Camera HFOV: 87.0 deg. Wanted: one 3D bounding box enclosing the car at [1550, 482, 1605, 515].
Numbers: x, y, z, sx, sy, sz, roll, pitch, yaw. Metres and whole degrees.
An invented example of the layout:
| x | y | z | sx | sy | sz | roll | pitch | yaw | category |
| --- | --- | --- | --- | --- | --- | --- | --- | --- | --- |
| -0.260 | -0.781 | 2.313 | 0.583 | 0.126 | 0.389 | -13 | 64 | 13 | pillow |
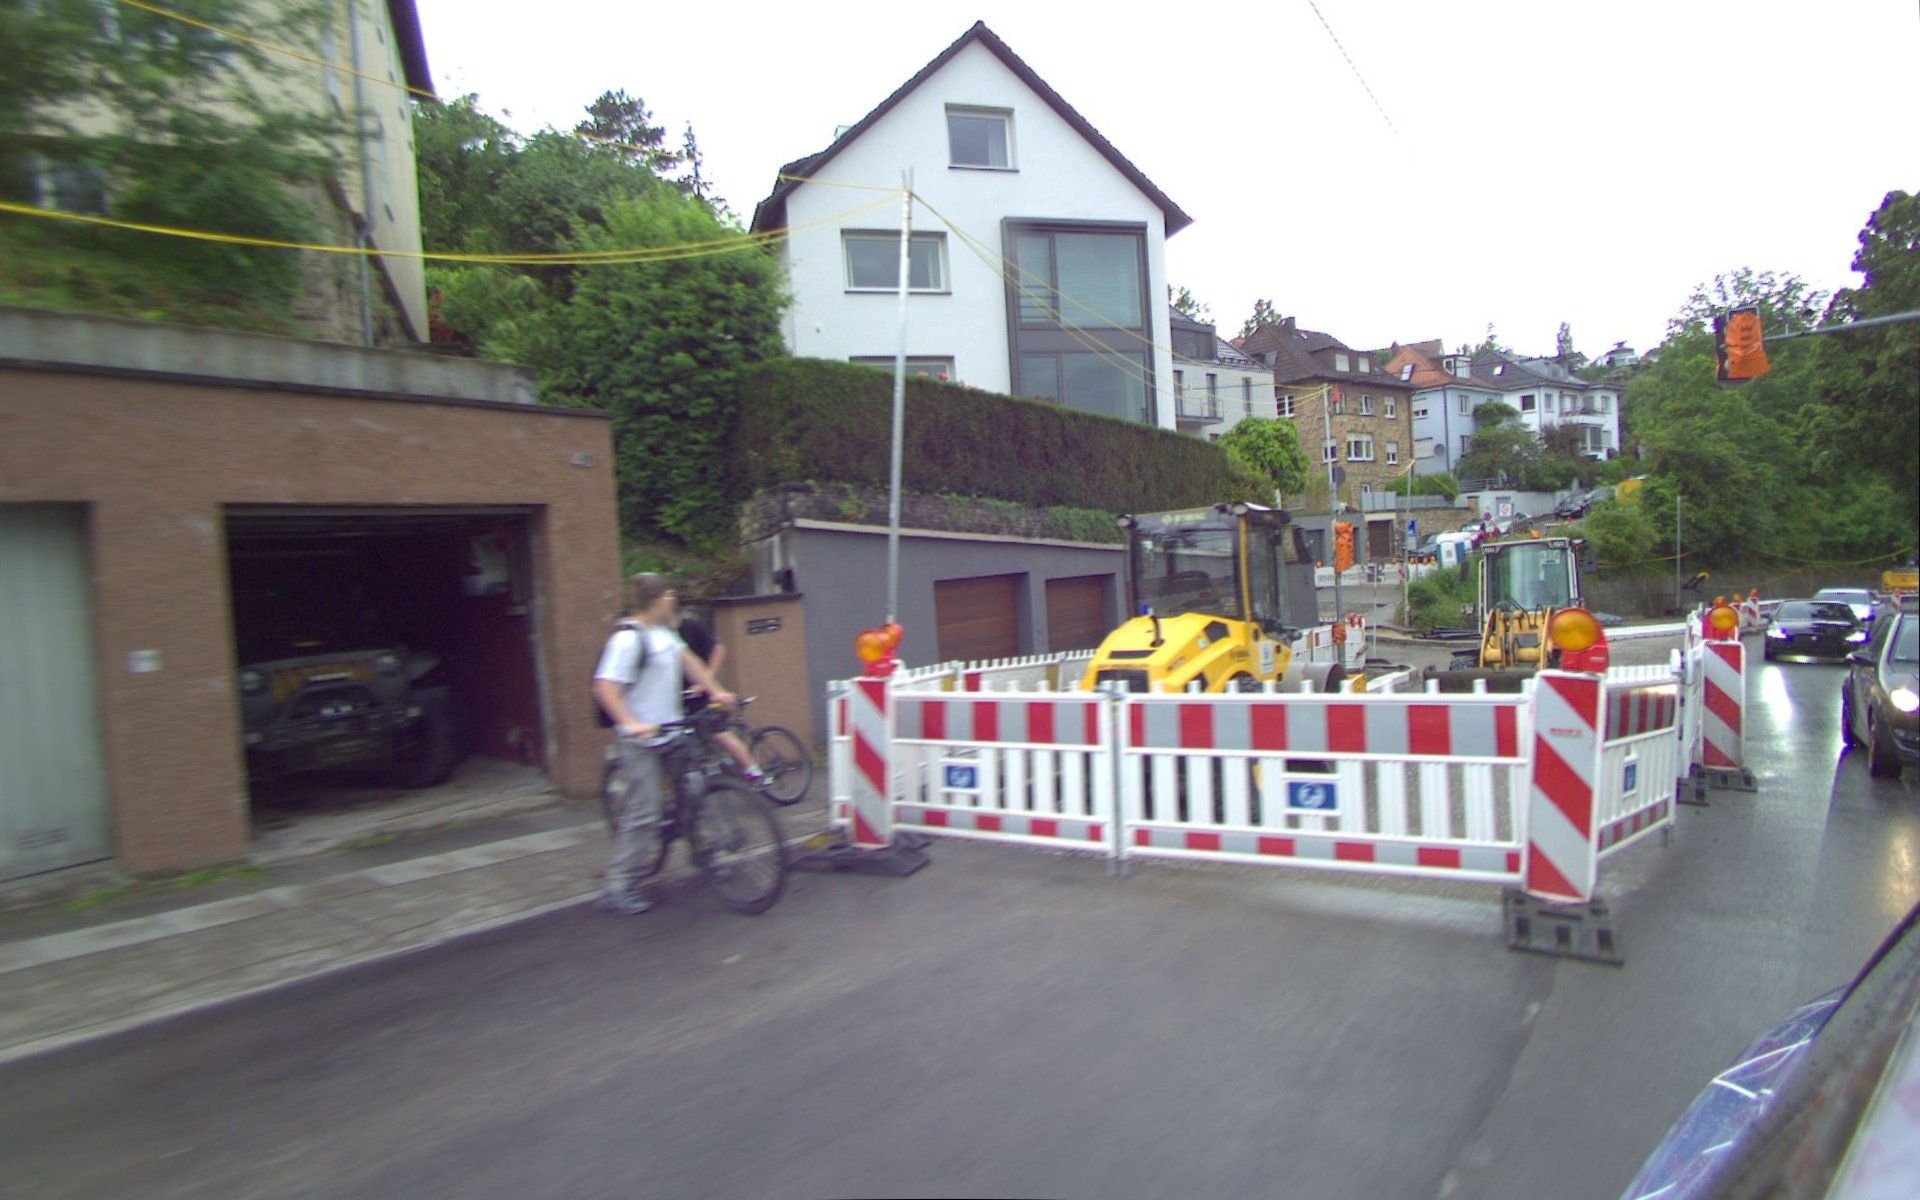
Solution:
| x | y | z | sx | sy | sz | roll | pitch | yaw | category |
| --- | --- | --- | --- | --- | --- | --- | --- | --- | --- |
| 41.382 | -6.800 | 67.794 | 3.902 | 1.652 | 1.859 | -14 | 9 | -38 | car |

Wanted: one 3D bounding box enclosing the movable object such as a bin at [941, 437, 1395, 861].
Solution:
| x | y | z | sx | sy | sz | roll | pitch | yaw | category |
| --- | --- | --- | --- | --- | --- | --- | --- | --- | --- |
| 2.358 | 0.338 | 9.749 | 2.081 | 2.874 | 5.600 | -1 | -1 | 37 | movable object such as a bin |

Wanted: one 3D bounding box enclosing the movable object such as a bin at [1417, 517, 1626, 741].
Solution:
| x | y | z | sx | sy | sz | roll | pitch | yaw | category |
| --- | --- | --- | --- | --- | --- | --- | --- | --- | --- |
| 8.983 | 0.247 | 15.885 | 2.081 | 2.873 | 5.603 | -1 | 2 | 37 | movable object such as a bin |

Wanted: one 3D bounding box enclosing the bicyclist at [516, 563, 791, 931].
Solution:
| x | y | z | sx | sy | sz | roll | pitch | yaw | category |
| --- | --- | --- | --- | --- | --- | --- | --- | --- | --- |
| -1.640 | 0.700 | 5.481 | 1.067 | 1.750 | 0.924 | -1 | 0 | 29 | bicyclist |

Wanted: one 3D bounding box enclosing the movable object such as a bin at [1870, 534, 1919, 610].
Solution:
| x | y | z | sx | sy | sz | roll | pitch | yaw | category |
| --- | --- | --- | --- | --- | --- | --- | --- | --- | --- |
| 51.998 | -1.519 | 52.949 | 7.052 | 3.887 | 3.339 | -1 | 1 | -17 | movable object such as a bin |

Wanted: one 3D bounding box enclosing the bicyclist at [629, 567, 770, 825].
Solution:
| x | y | z | sx | sy | sz | roll | pitch | yaw | category |
| --- | --- | --- | --- | --- | --- | --- | --- | --- | --- |
| -1.970 | 0.651 | 7.558 | 0.913 | 1.750 | 1.079 | -1 | 0 | -18 | bicyclist |

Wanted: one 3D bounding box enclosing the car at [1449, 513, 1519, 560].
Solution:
| x | y | z | sx | sy | sz | roll | pitch | yaw | category |
| --- | --- | --- | --- | --- | --- | --- | --- | --- | --- |
| 30.300 | -3.682 | 58.485 | 4.358 | 2.100 | 1.900 | -12 | 9 | -38 | car |

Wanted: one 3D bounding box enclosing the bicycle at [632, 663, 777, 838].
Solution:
| x | y | z | sx | sy | sz | roll | pitch | yaw | category |
| --- | --- | --- | --- | --- | --- | --- | --- | --- | --- |
| -1.968 | 1.042 | 7.592 | 0.913 | 0.993 | 1.833 | -1 | 0 | -18 | bicycle |

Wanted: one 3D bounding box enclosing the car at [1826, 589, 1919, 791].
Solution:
| x | y | z | sx | sy | sz | roll | pitch | yaw | category |
| --- | --- | --- | --- | --- | --- | --- | --- | --- | --- |
| 9.466 | 0.690 | 9.422 | 1.664 | 1.484 | 4.658 | 0 | 2 | 35 | car |

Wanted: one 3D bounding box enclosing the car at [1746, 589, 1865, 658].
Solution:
| x | y | z | sx | sy | sz | roll | pitch | yaw | category |
| --- | --- | --- | --- | --- | --- | --- | --- | --- | --- |
| 20.224 | 0.485 | 24.354 | 1.832 | 1.420 | 4.021 | 0 | 2 | 35 | car |

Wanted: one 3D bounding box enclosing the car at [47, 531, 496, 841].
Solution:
| x | y | z | sx | sy | sz | roll | pitch | yaw | category |
| --- | --- | --- | --- | --- | --- | --- | --- | --- | --- |
| -6.156 | 0.582 | 8.873 | 4.363 | 2.037 | 1.793 | -1 | 4 | 37 | car |

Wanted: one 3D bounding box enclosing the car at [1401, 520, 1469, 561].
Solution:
| x | y | z | sx | sy | sz | roll | pitch | yaw | category |
| --- | --- | --- | --- | --- | --- | --- | --- | --- | --- |
| 25.983 | -3.253 | 55.327 | 3.772 | 1.652 | 1.859 | -12 | 9 | -38 | car |

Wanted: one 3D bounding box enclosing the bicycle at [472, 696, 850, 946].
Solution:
| x | y | z | sx | sy | sz | roll | pitch | yaw | category |
| --- | --- | --- | --- | --- | --- | --- | --- | --- | --- |
| -1.629 | 1.091 | 5.479 | 1.867 | 0.993 | 0.923 | -1 | 0 | 29 | bicycle |

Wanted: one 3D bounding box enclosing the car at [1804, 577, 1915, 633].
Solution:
| x | y | z | sx | sy | sz | roll | pitch | yaw | category |
| --- | --- | --- | --- | --- | --- | --- | --- | --- | --- |
| 31.207 | 0.116 | 35.078 | 4.489 | 1.730 | 2.001 | -2 | 2 | -37 | car |

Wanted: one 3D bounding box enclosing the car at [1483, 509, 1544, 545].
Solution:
| x | y | z | sx | sy | sz | roll | pitch | yaw | category |
| --- | --- | --- | --- | --- | --- | --- | --- | --- | --- |
| 33.494 | -4.436 | 61.183 | 3.900 | 1.652 | 1.859 | -12 | 9 | -38 | car |
